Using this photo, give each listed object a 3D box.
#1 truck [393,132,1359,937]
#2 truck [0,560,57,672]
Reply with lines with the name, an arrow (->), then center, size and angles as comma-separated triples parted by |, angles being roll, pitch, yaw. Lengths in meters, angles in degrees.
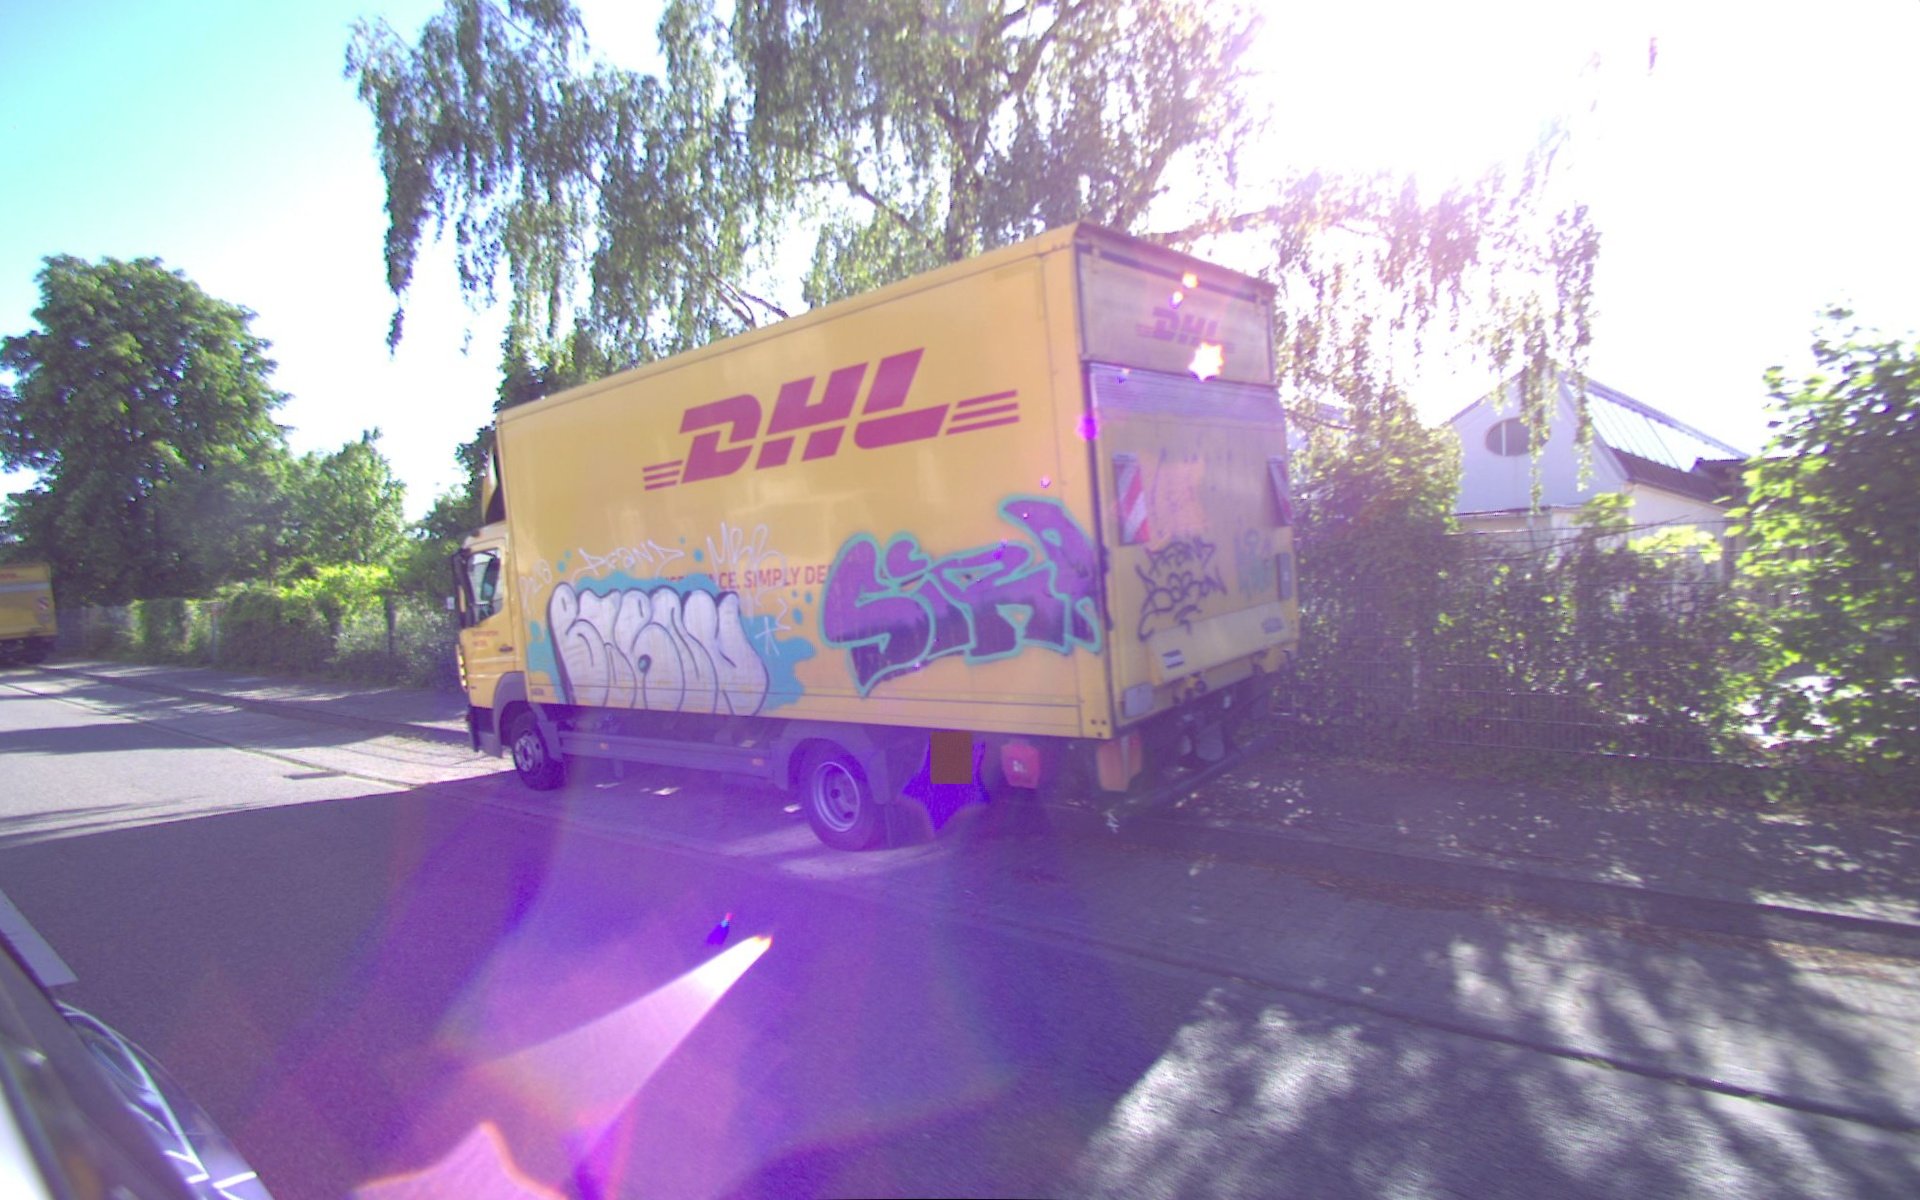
truck -> -1.371, -0.293, 8.258 | 8.001, 3.646, 2.814 | -2, 4, 40
truck -> -35.196, 0.627, 36.568 | 7.891, 3.786, 2.760 | -2, -2, 40
